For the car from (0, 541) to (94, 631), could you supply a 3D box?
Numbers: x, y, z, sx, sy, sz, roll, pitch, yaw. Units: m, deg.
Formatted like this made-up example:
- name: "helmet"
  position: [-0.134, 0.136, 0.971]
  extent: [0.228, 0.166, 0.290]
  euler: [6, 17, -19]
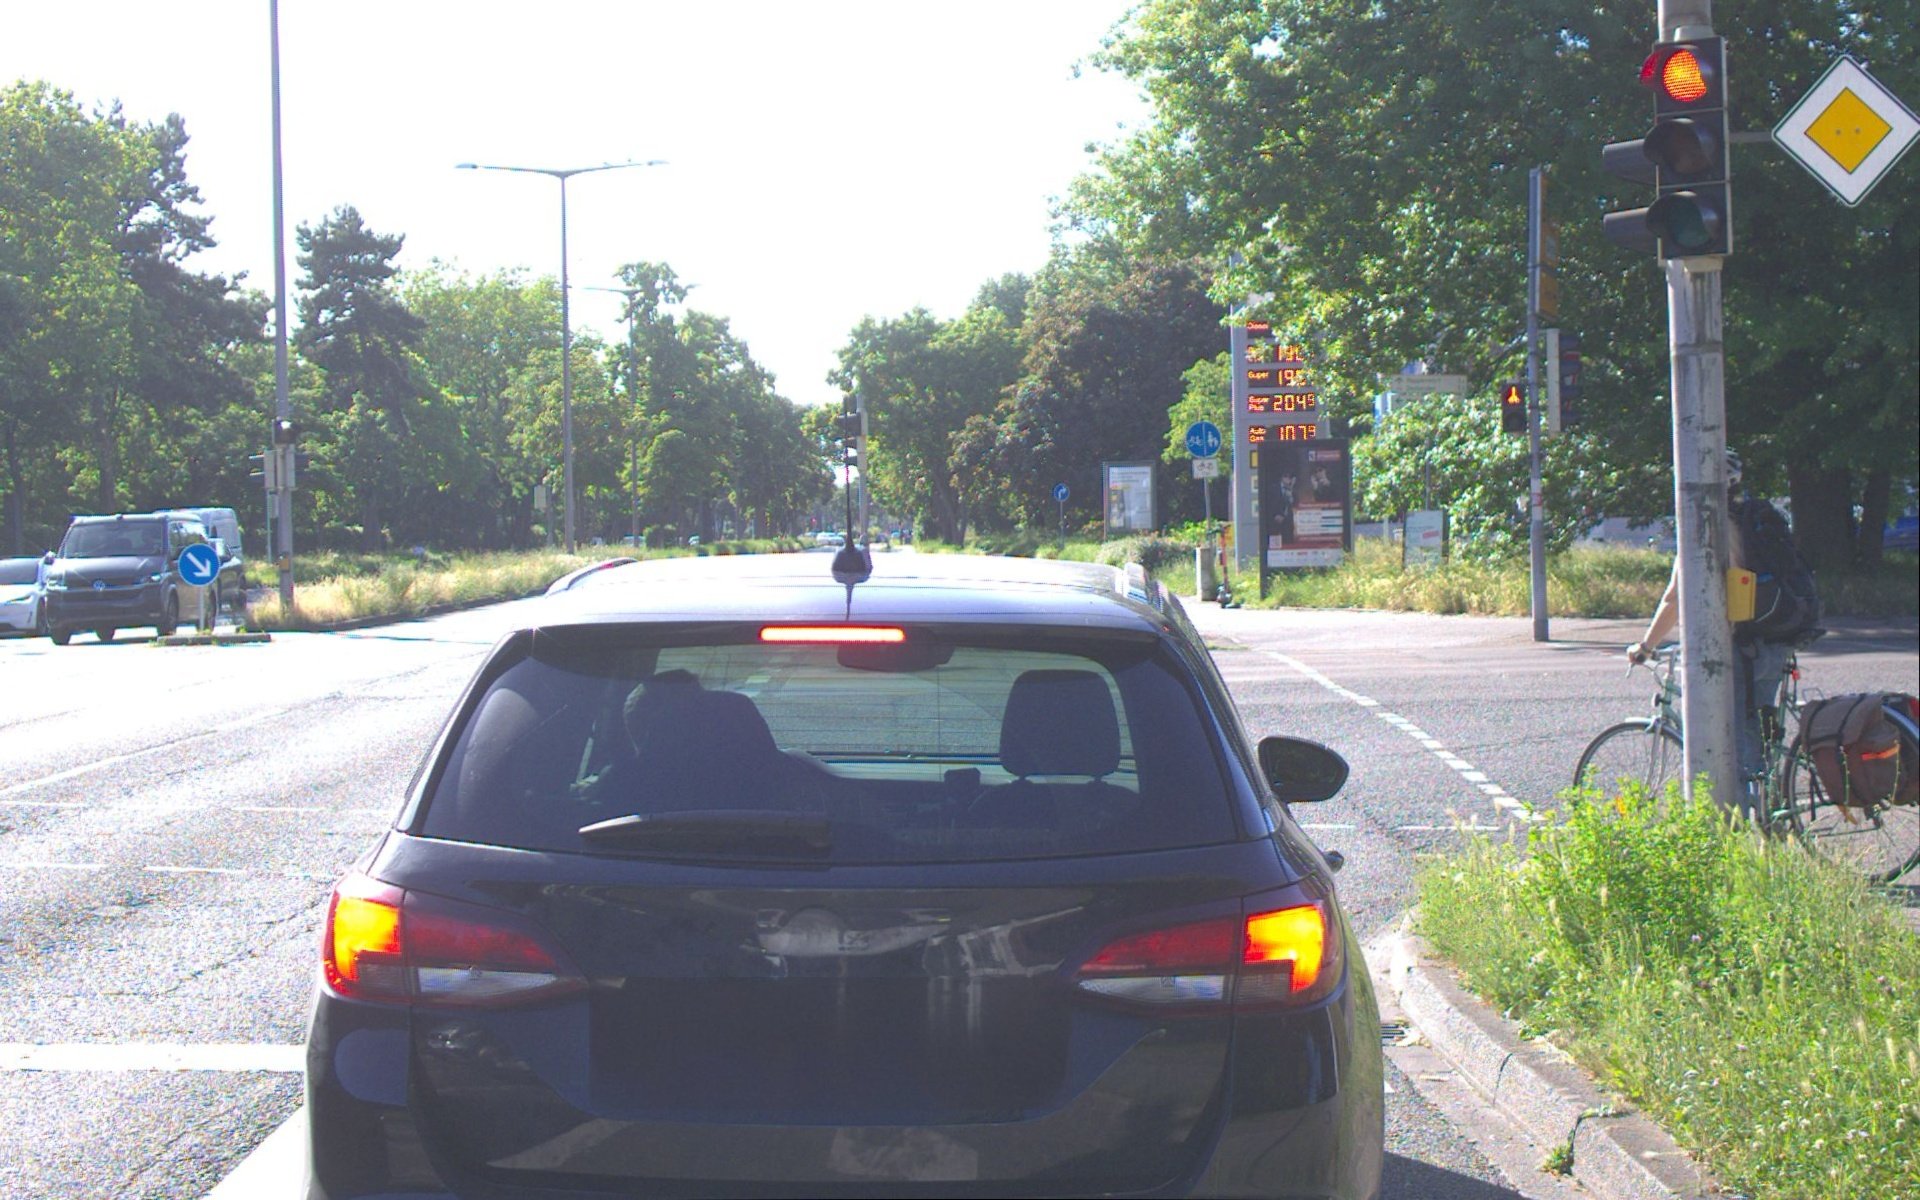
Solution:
- name: "car"
  position: [-16.902, -0.260, 61.122]
  extent: [1.888, 1.519, 4.504]
  euler: [-1, 1, -1]

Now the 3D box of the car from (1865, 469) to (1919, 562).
- name: "car"
  position: [17.095, -1.431, 56.723]
  extent: [3.887, 1.512, 1.746]
  euler: [-2, 1, -23]

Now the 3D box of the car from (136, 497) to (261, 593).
- name: "car"
  position: [-20.859, -1.523, 94.468]
  extent: [2.100, 2.484, 6.004]
  euler: [-2, 1, -1]

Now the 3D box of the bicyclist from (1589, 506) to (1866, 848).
- name: "bicyclist"
  position: [2.974, 0.298, 13.337]
  extent: [0.536, 1.272, 0.829]
  euler: [-3, 0, -44]

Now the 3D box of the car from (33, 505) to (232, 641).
- name: "car"
  position: [-12.879, -0.454, 53.805]
  extent: [1.911, 1.985, 5.016]
  euler: [-1, 1, -1]

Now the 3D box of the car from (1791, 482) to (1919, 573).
- name: "car"
  position: [16.619, -1.290, 59.808]
  extent: [3.887, 1.512, 1.746]
  euler: [-2, 1, -23]

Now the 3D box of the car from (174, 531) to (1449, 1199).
- name: "car"
  position: [-0.229, 0.628, 6.853]
  extent: [1.756, 1.490, 4.207]
  euler: [0, 1, -1]

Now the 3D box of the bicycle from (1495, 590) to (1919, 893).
- name: "bicycle"
  position: [2.982, 0.543, 13.339]
  extent: [0.536, 1.094, 1.775]
  euler: [-3, 0, -44]
